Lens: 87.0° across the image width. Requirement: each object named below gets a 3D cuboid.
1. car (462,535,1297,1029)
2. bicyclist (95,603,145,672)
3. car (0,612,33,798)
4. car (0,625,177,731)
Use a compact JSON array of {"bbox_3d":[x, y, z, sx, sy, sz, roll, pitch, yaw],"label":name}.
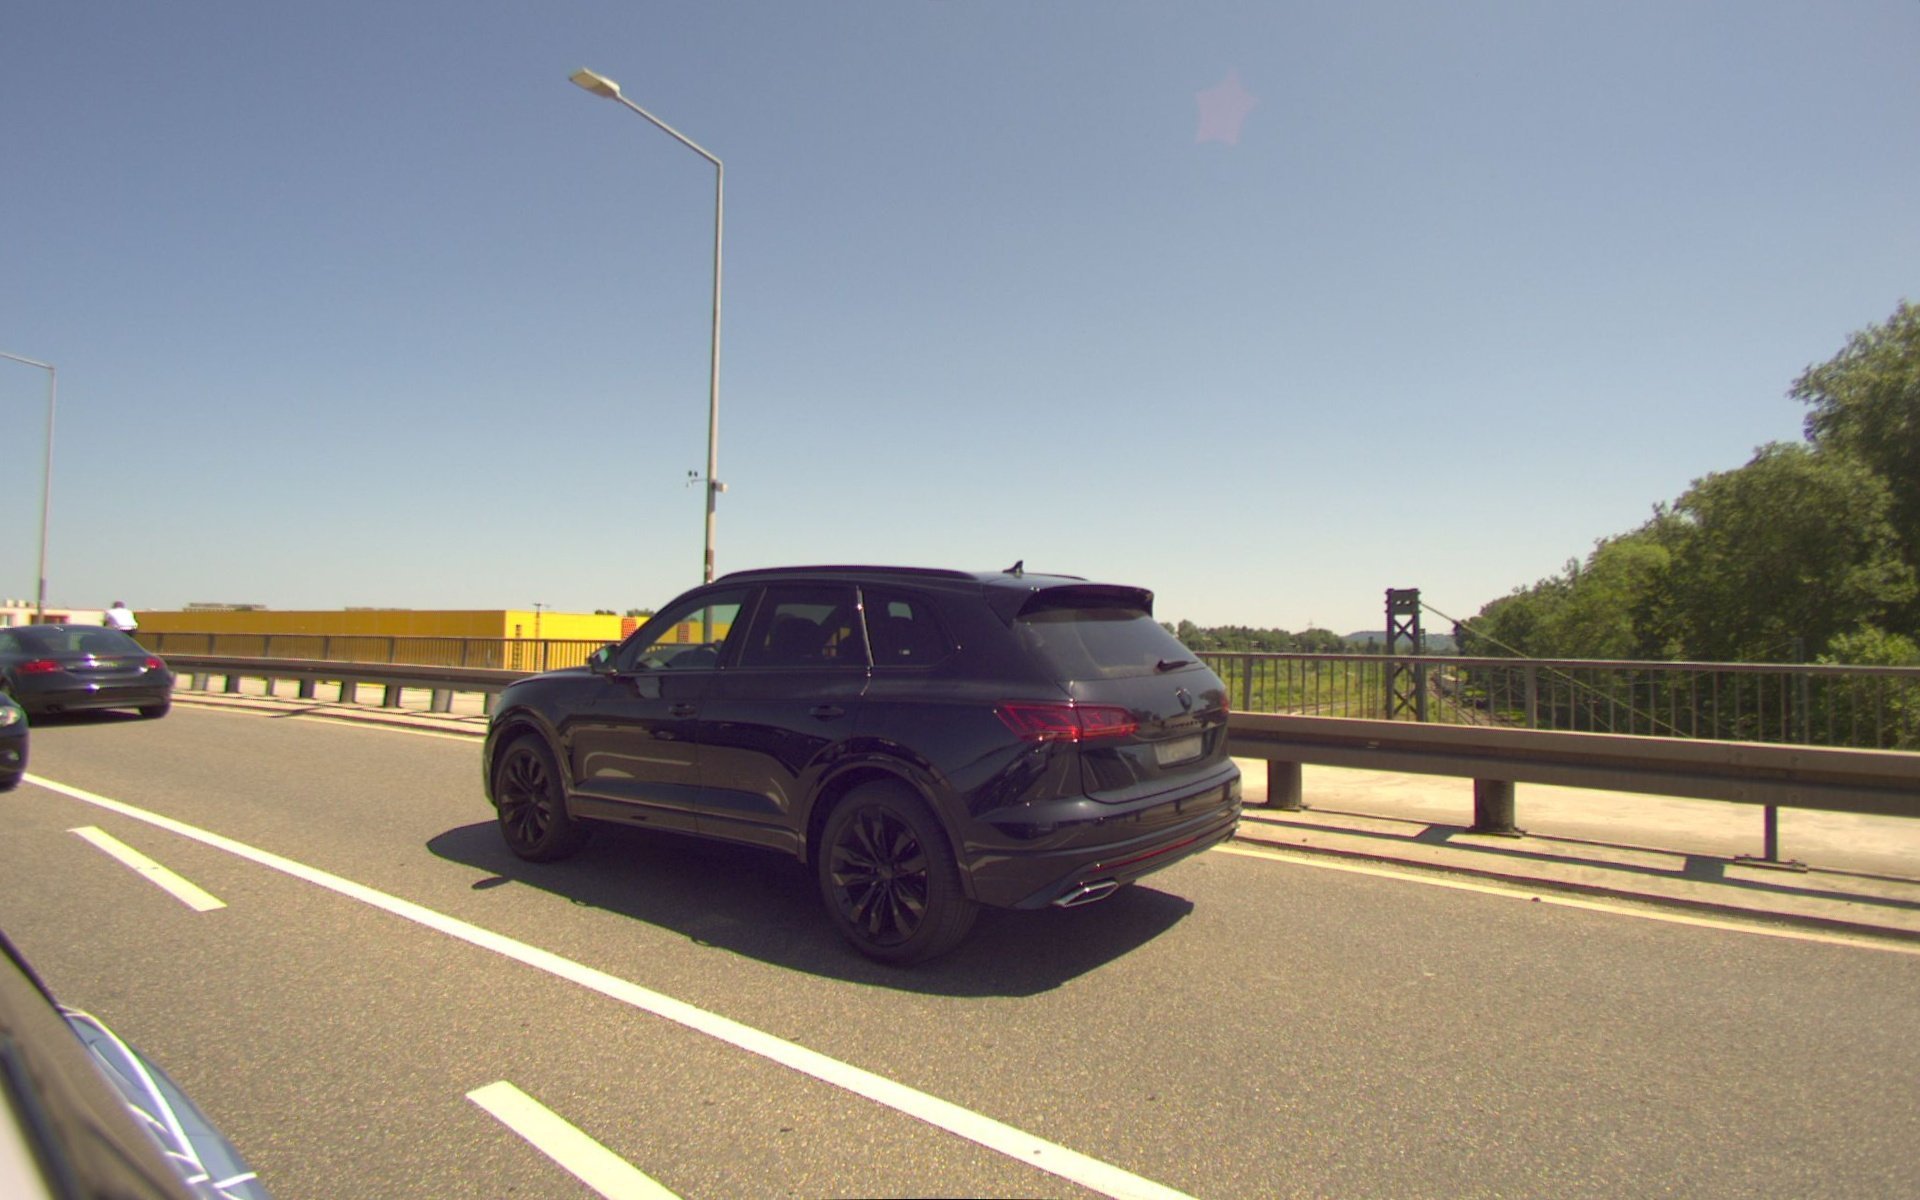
[{"bbox_3d":[-0.738,0.650,5.677,4.608,1.686,1.947,-1,-1,39],"label":"car"},{"bbox_3d":[-19.232,0.846,23.165,0.892,1.533,0.579,-1,-1,29],"label":"bicyclist"},{"bbox_3d":[-9.794,0.845,8.706,4.513,1.466,1.774,-1,-1,35],"label":"car"},{"bbox_3d":[-13.064,1.022,14.438,3.958,1.318,1.666,-1,-1,31],"label":"car"}]
